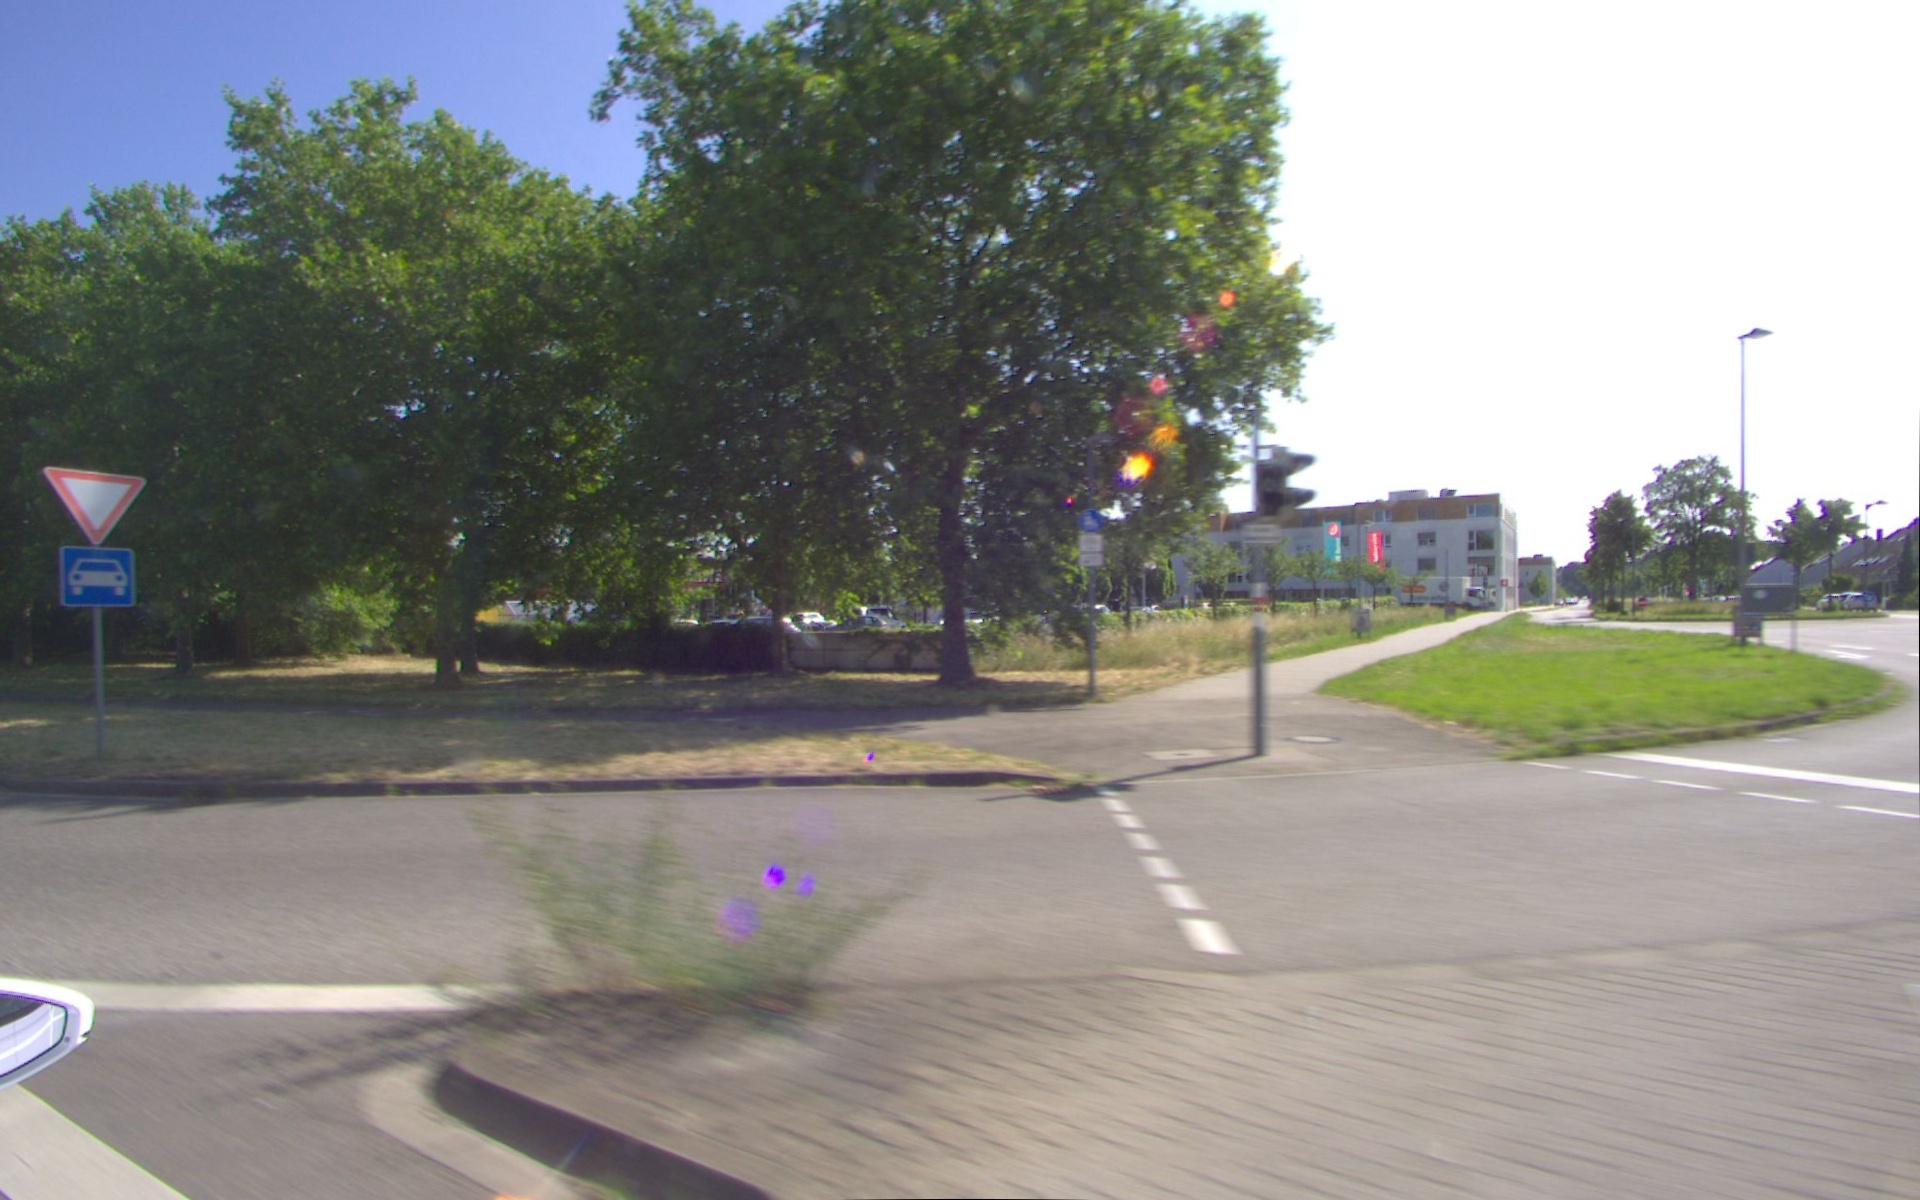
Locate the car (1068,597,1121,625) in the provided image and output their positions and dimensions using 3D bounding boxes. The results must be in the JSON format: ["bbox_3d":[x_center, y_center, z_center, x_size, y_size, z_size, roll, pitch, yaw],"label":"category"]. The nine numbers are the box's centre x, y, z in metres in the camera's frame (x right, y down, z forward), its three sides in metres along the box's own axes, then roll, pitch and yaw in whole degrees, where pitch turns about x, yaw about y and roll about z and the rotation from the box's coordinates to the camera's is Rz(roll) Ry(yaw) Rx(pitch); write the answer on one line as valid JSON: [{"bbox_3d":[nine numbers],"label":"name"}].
[{"bbox_3d":[9.648,0.791,71.867,1.976,1.951,3.969,-1,0,40],"label":"car"}]

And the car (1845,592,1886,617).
[{"bbox_3d":[73.085,0.398,80.887,1.974,1.950,3.976,-2,-2,35],"label":"car"}]

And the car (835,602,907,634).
[{"bbox_3d":[-5.193,1.043,58.669,1.976,1.751,3.969,-1,0,39],"label":"car"}]

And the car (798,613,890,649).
[{"bbox_3d":[-5.997,1.598,51.983,4.420,1.773,1.987,-1,0,6],"label":"car"}]

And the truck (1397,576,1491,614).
[{"bbox_3d":[48.647,-0.409,100.823,8.158,3.592,2.612,-1,0,41],"label":"truck"}]

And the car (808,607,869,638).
[{"bbox_3d":[-8.527,1.575,70.409,1.976,2.040,3.969,-1,0,39],"label":"car"}]

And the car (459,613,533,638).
[{"bbox_3d":[-29.928,1.657,64.609,3.961,1.605,1.981,1,-2,-44],"label":"car"}]
